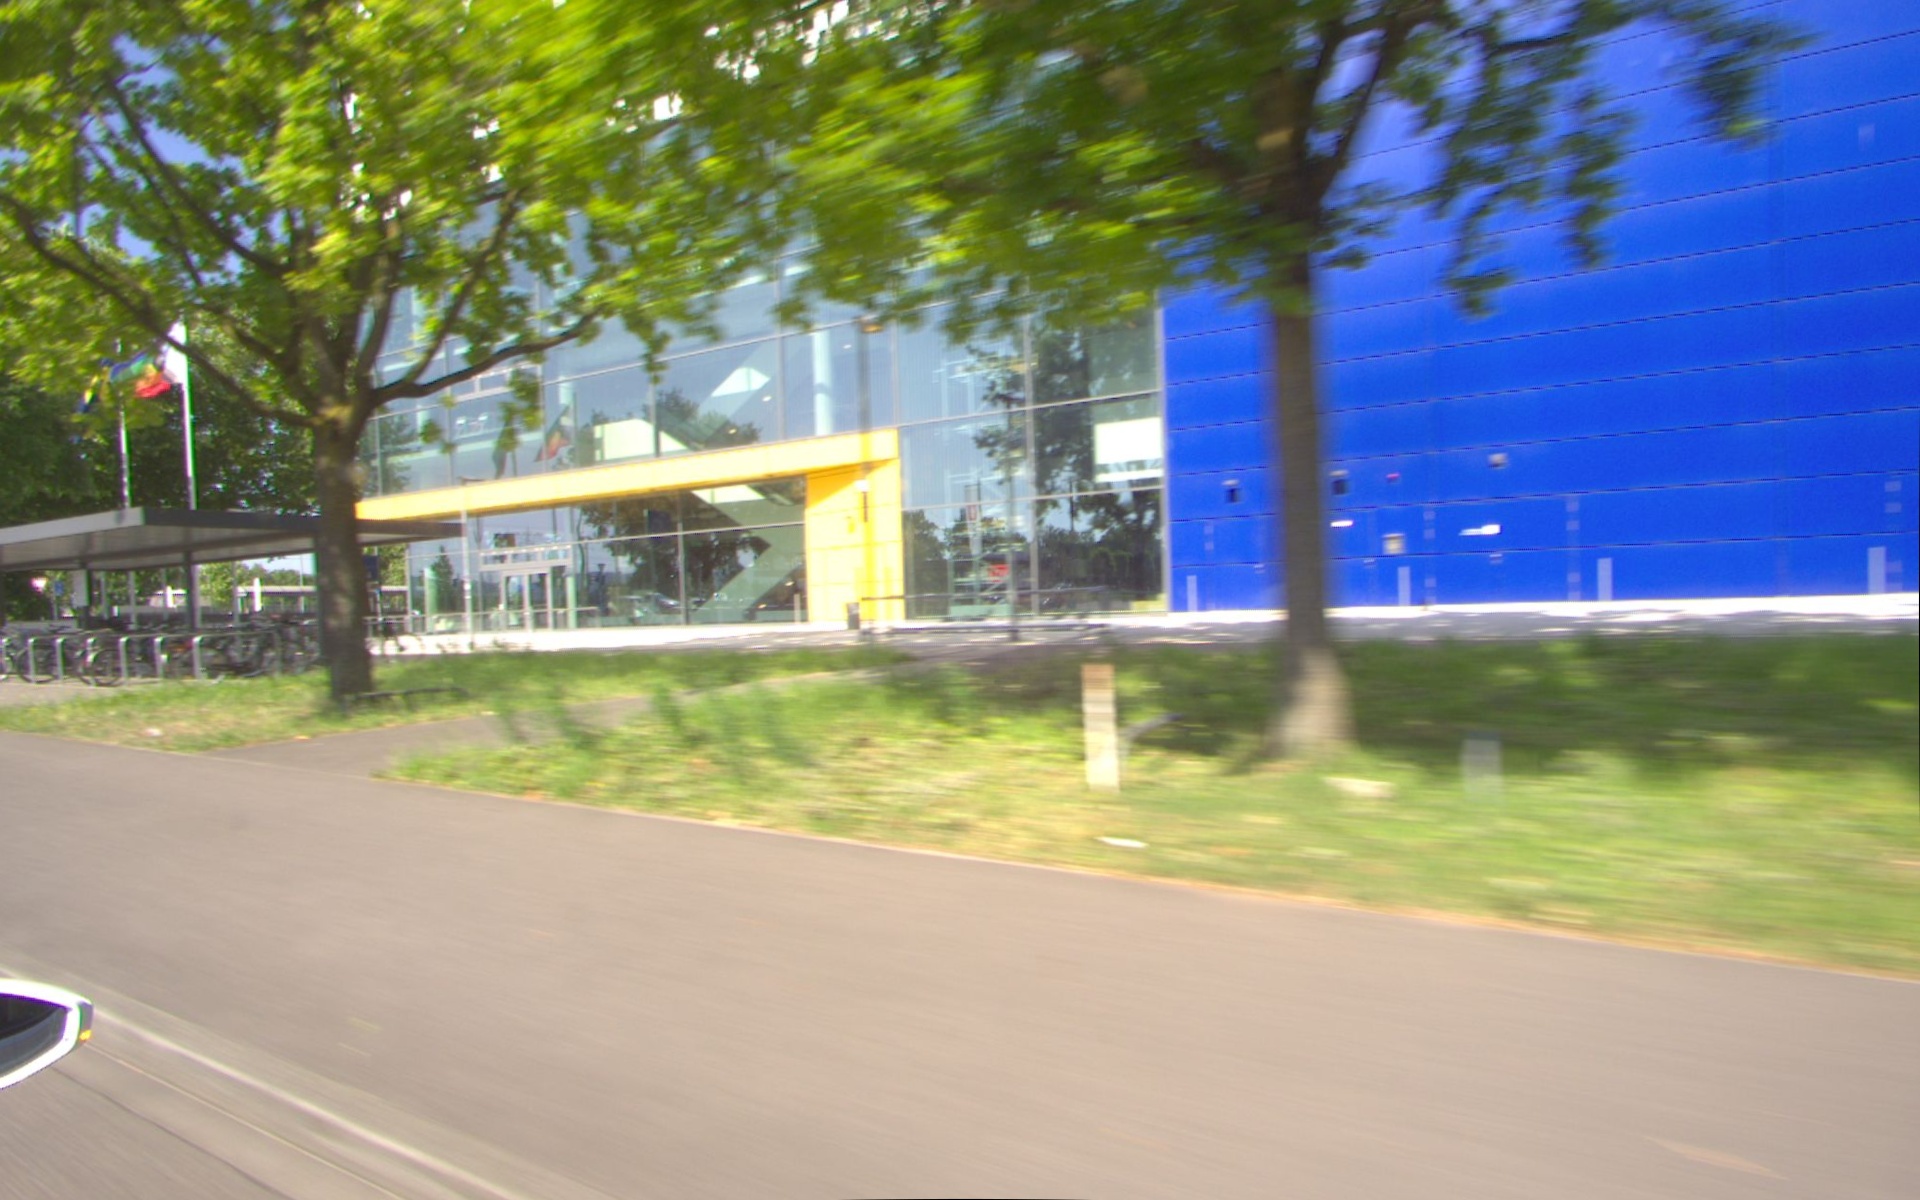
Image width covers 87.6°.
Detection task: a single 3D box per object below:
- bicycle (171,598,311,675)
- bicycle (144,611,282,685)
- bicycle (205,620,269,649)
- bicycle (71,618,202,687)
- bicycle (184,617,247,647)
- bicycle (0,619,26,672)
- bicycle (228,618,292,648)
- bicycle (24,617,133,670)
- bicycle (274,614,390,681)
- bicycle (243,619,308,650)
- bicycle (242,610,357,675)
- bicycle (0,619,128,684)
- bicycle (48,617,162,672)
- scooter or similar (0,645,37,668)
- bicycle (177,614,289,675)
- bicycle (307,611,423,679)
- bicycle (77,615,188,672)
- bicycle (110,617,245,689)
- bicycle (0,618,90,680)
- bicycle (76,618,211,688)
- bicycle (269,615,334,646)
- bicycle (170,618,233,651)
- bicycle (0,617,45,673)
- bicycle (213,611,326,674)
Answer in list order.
[{"bbox_3d":[-11.392,0.551,15.926,0.445,1.111,1.755,-1,1,30],"label":"bicycle"},{"bbox_3d":[-12.264,0.758,16.496,0.456,1.111,1.755,0,1,30],"label":"bicycle"},{"bbox_3d":[-22.595,1.064,31.309,0.427,0.854,1.558,0,1,32],"label":"bicycle"},{"bbox_3d":[-14.715,0.909,17.947,0.445,1.111,1.755,0,1,30],"label":"bicycle"},{"bbox_3d":[-23.725,1.007,31.948,0.427,0.922,1.558,0,1,32],"label":"bicycle"},{"bbox_3d":[-20.690,0.974,20.830,0.445,1.111,1.755,0,1,30],"label":"bicycle"},{"bbox_3d":[-21.424,1.012,30.661,0.427,0.854,1.559,0,1,30],"label":"bicycle"},{"bbox_3d":[-19.831,0.959,22.569,0.445,1.111,1.755,0,1,30],"label":"bicycle"},{"bbox_3d":[-11.404,0.845,18.246,0.445,1.111,1.755,0,1,30],"label":"bicycle"},{"bbox_3d":[-20.633,1.024,30.208,0.427,0.854,1.558,0,1,32],"label":"bicycle"},{"bbox_3d":[-12.332,0.763,18.753,0.445,1.111,1.755,0,1,30],"label":"bicycle"},{"bbox_3d":[-16.709,0.933,18.680,0.445,1.111,1.755,0,1,30],"label":"bicycle"},{"bbox_3d":[-18.741,0.952,21.994,0.445,1.111,1.825,0,1,30],"label":"bicycle"},{"bbox_3d":[-21.697,1.296,22.808,0.908,0.457,0.953,-4,1,-39],"label":"scooter or similar"},{"bbox_3d":[-14.499,0.867,20.030,0.445,1.111,1.755,0,1,30],"label":"bicycle"},{"bbox_3d":[-10.495,0.768,17.723,0.445,1.111,1.755,0,1,30],"label":"bicycle"},{"bbox_3d":[-17.616,0.900,21.350,0.445,1.111,1.755,0,1,30],"label":"bicycle"},{"bbox_3d":[-13.363,0.871,17.153,0.445,1.111,1.755,0,1,30],"label":"bicycle"},{"bbox_3d":[-17.800,0.922,19.093,0.445,1.111,1.755,0,1,30],"label":"bicycle"},{"bbox_3d":[-14.223,0.891,17.493,0.445,1.111,1.755,0,1,30],"label":"bicycle"},{"bbox_3d":[-19.350,0.878,29.442,0.427,0.854,1.558,0,1,32],"label":"bicycle"},{"bbox_3d":[-24.560,1.116,32.443,0.427,1.008,1.558,0,1,32],"label":"bicycle"},{"bbox_3d":[-19.833,0.934,20.345,0.445,1.111,1.755,0,1,30],"label":"bicycle"},{"bbox_3d":[-13.286,0.792,19.320,0.445,1.111,1.755,0,1,30],"label":"bicycle"}]
